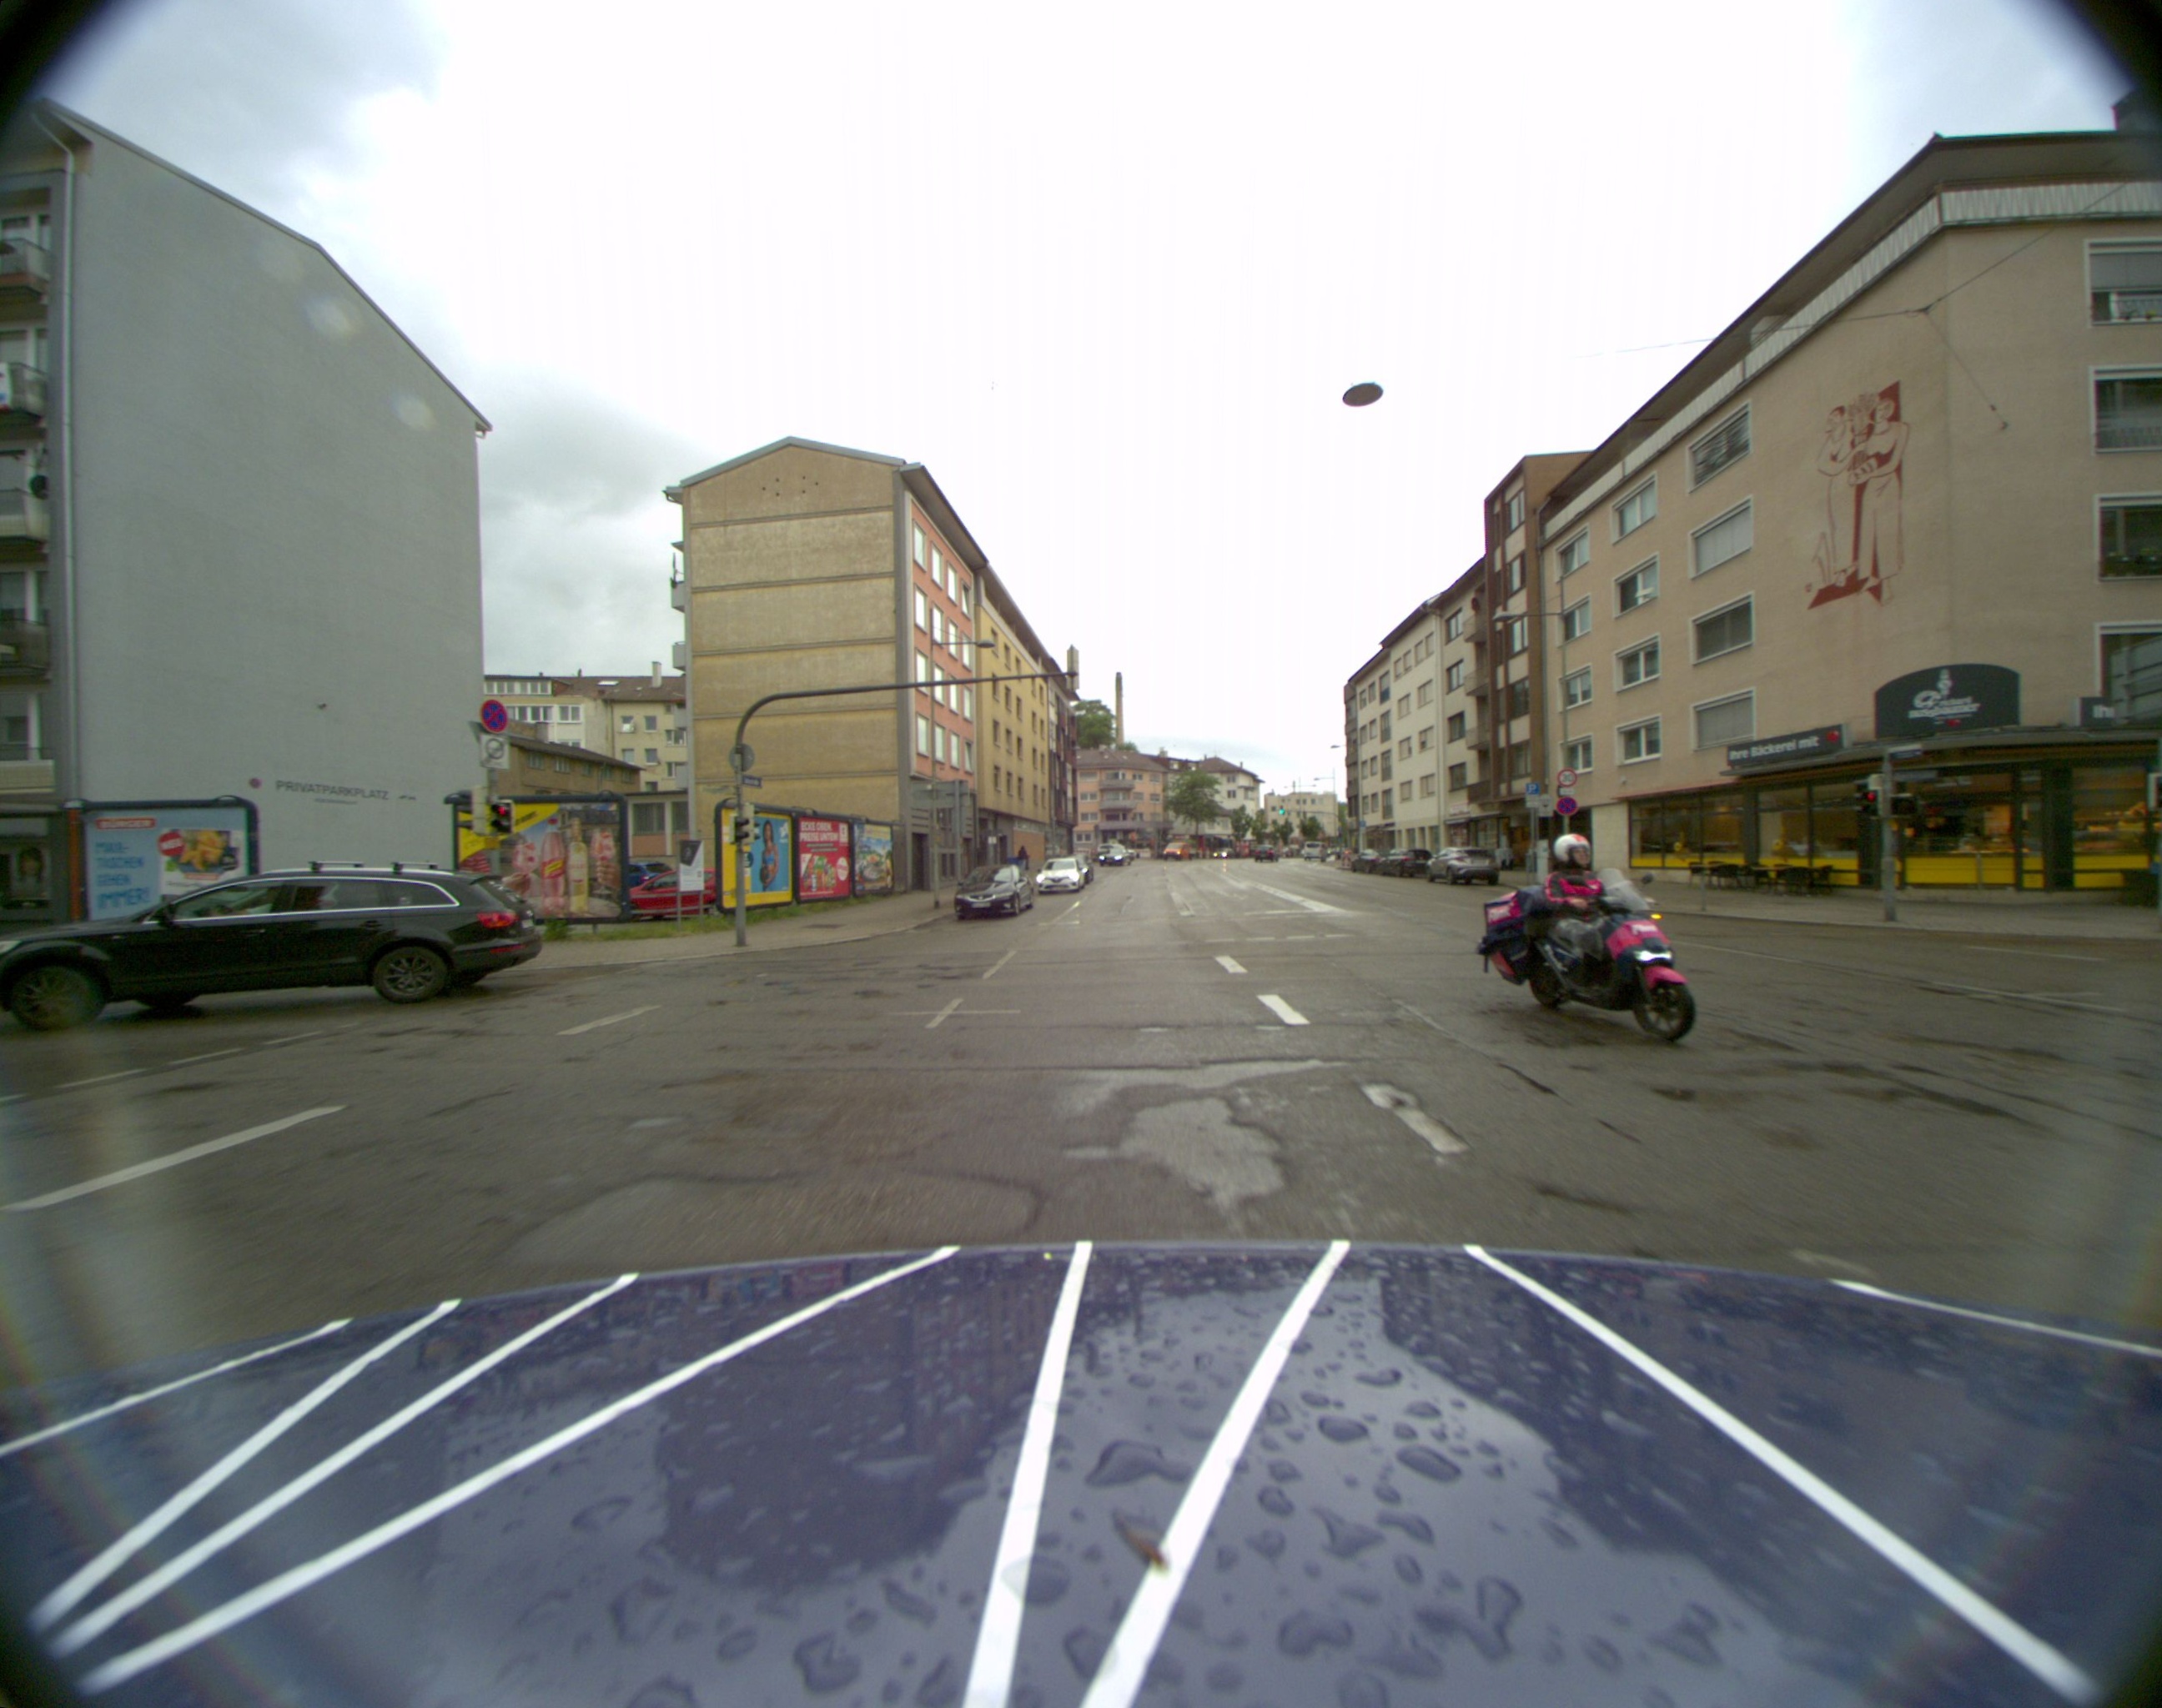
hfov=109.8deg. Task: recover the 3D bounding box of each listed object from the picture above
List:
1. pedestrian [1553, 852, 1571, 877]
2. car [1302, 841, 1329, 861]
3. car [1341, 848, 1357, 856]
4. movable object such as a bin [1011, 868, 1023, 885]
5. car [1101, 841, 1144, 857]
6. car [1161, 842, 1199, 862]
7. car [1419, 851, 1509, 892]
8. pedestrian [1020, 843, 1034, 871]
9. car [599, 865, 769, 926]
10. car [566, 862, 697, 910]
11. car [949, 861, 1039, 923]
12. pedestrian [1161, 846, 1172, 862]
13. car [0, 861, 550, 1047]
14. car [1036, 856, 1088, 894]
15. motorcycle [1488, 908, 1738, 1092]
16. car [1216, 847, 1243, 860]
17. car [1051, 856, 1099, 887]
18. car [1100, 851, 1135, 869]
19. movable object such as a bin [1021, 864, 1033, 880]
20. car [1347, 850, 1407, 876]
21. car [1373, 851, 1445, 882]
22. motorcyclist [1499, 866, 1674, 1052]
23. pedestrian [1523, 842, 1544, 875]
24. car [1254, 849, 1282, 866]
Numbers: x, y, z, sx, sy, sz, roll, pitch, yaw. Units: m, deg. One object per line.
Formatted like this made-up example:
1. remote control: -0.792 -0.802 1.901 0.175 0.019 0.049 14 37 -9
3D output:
1. pedestrian: 21.895 0.475 34.565 0.673 1.141 0.596 -1 1 33
2. car: 26.140 -0.376 84.670 2.120 2.003 5.136 -4 1 25
3. car: 47.117 -0.320 133.679 1.985 1.451 4.494 1 0 27
4. movable object such as a bin: -4.205 1.483 49.838 0.682 1.070 0.668 -1 1 6
5. car: 4.435 -0.557 82.098 2.004 1.711 4.784 0 1 -39
6. car: 10.812 -0.272 82.527 2.194 2.073 5.944 -2 0 28
7. car: 15.683 0.681 31.423 1.911 1.545 4.633 0 1 7
8. pedestrian: -3.518 0.219 49.618 0.674 1.777 1.096 -2 0 9
9. car: -11.093 1.120 21.474 3.662 1.542 2.088 -1 -1 -2
10. car: -18.485 1.324 31.244 4.769 1.679 2.159 -4 -1 23
11. car: -2.484 1.050 22.725 1.787 1.488 4.057 -4 1 5
12. pedestrian: 9.894 0.011 87.636 0.920 1.850 1.030 -1 2 -14
13. car: -9.959 1.093 9.681 4.905 1.858 2.024 -1 -1 -24
14. car: -0.757 0.871 32.880 1.680 1.395 4.001 -3 1 6
15. motorcycle: 4.485 1.148 6.644 0.589 1.184 2.101 -2 0 -3
16. car: 18.877 -0.091 96.554 1.840 1.433 4.008 -4 -1 35
17. car: -0.218 0.885 40.067 2.039 1.380 5.294 -1 1 5
18. car: 3.062 0.477 62.372 1.809 1.332 4.282 0 2 17
19. movable object such as a bin: -3.811 1.259 53.395 0.682 1.070 0.668 -1 1 6
20. car: 17.354 0.511 44.807 1.886 1.468 4.980 0 0 3
21. car: 16.881 0.606 39.379 1.998 1.468 4.519 -1 0 3
22. motorcyclist: 4.424 0.877 6.719 0.917 1.484 0.864 -2 1 -3
23. pedestrian: 21.782 0.212 36.548 0.544 1.573 0.669 -2 1 -8
24. car: 18.715 0.310 75.934 1.863 1.637 4.261 0 0 25
